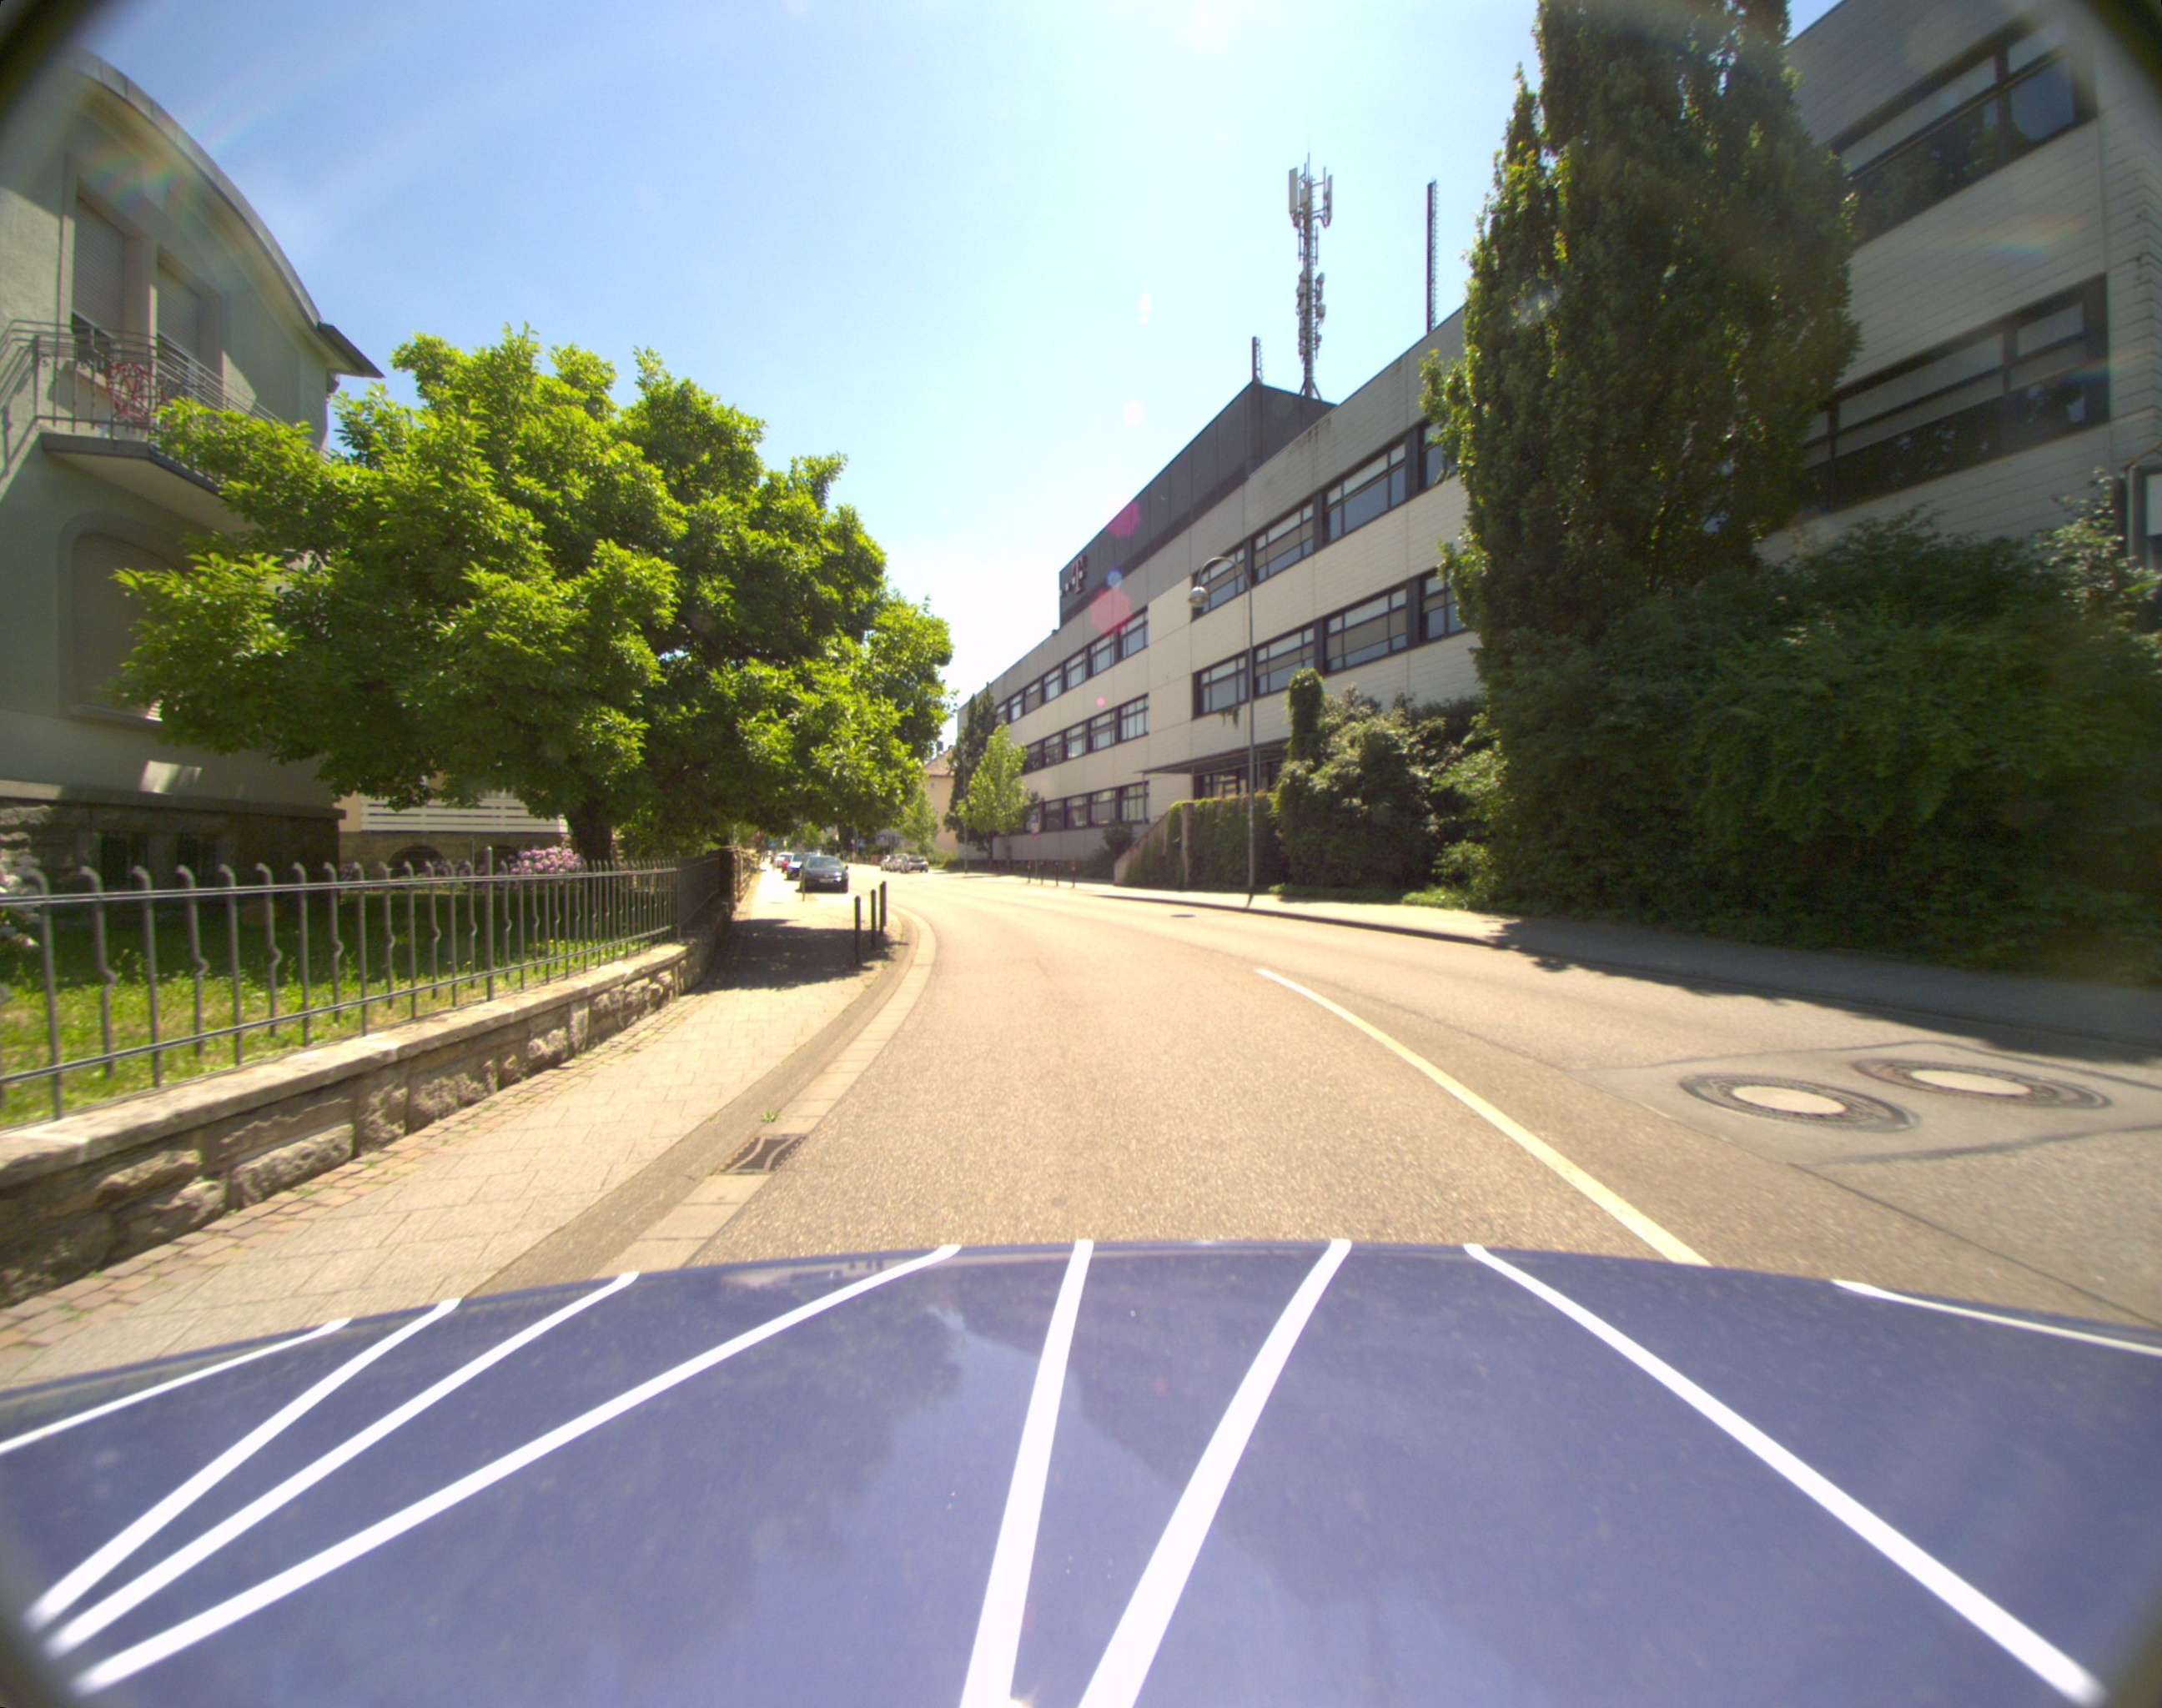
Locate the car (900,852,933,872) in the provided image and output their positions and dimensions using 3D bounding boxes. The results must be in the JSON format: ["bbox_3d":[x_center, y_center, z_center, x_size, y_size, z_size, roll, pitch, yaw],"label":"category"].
[{"bbox_3d":[-13.166,0.606,60.768,1.739,1.441,4.021,-2,1,-24],"label":"car"}]

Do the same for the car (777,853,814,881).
[{"bbox_3d":[-16.516,0.732,43.870,1.777,1.532,3.992,1,0,-24],"label":"car"}]

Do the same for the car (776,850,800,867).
[{"bbox_3d":[-30.681,0.457,79.450,2.002,1.613,3.991,-3,2,-26],"label":"car"}]

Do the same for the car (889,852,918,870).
[{"bbox_3d":[-15.375,0.559,65.660,1.748,1.494,3.726,-2,1,-24],"label":"car"}]

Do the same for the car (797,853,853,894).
[{"bbox_3d":[-10.393,0.735,30.703,1.777,1.532,3.992,0,0,-24],"label":"car"}]

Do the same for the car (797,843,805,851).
[{"bbox_3d":[-78.554,-1.954,213.033,2.015,2.364,3.992,-3,1,-20],"label":"car"}]

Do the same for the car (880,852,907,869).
[{"bbox_3d":[-17.213,0.554,69.599,1.777,1.532,3.992,0,0,-24],"label":"car"}]

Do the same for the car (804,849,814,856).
[{"bbox_3d":[-65.248,-0.373,182.099,2.002,1.623,3.992,-3,1,-21],"label":"car"}]
